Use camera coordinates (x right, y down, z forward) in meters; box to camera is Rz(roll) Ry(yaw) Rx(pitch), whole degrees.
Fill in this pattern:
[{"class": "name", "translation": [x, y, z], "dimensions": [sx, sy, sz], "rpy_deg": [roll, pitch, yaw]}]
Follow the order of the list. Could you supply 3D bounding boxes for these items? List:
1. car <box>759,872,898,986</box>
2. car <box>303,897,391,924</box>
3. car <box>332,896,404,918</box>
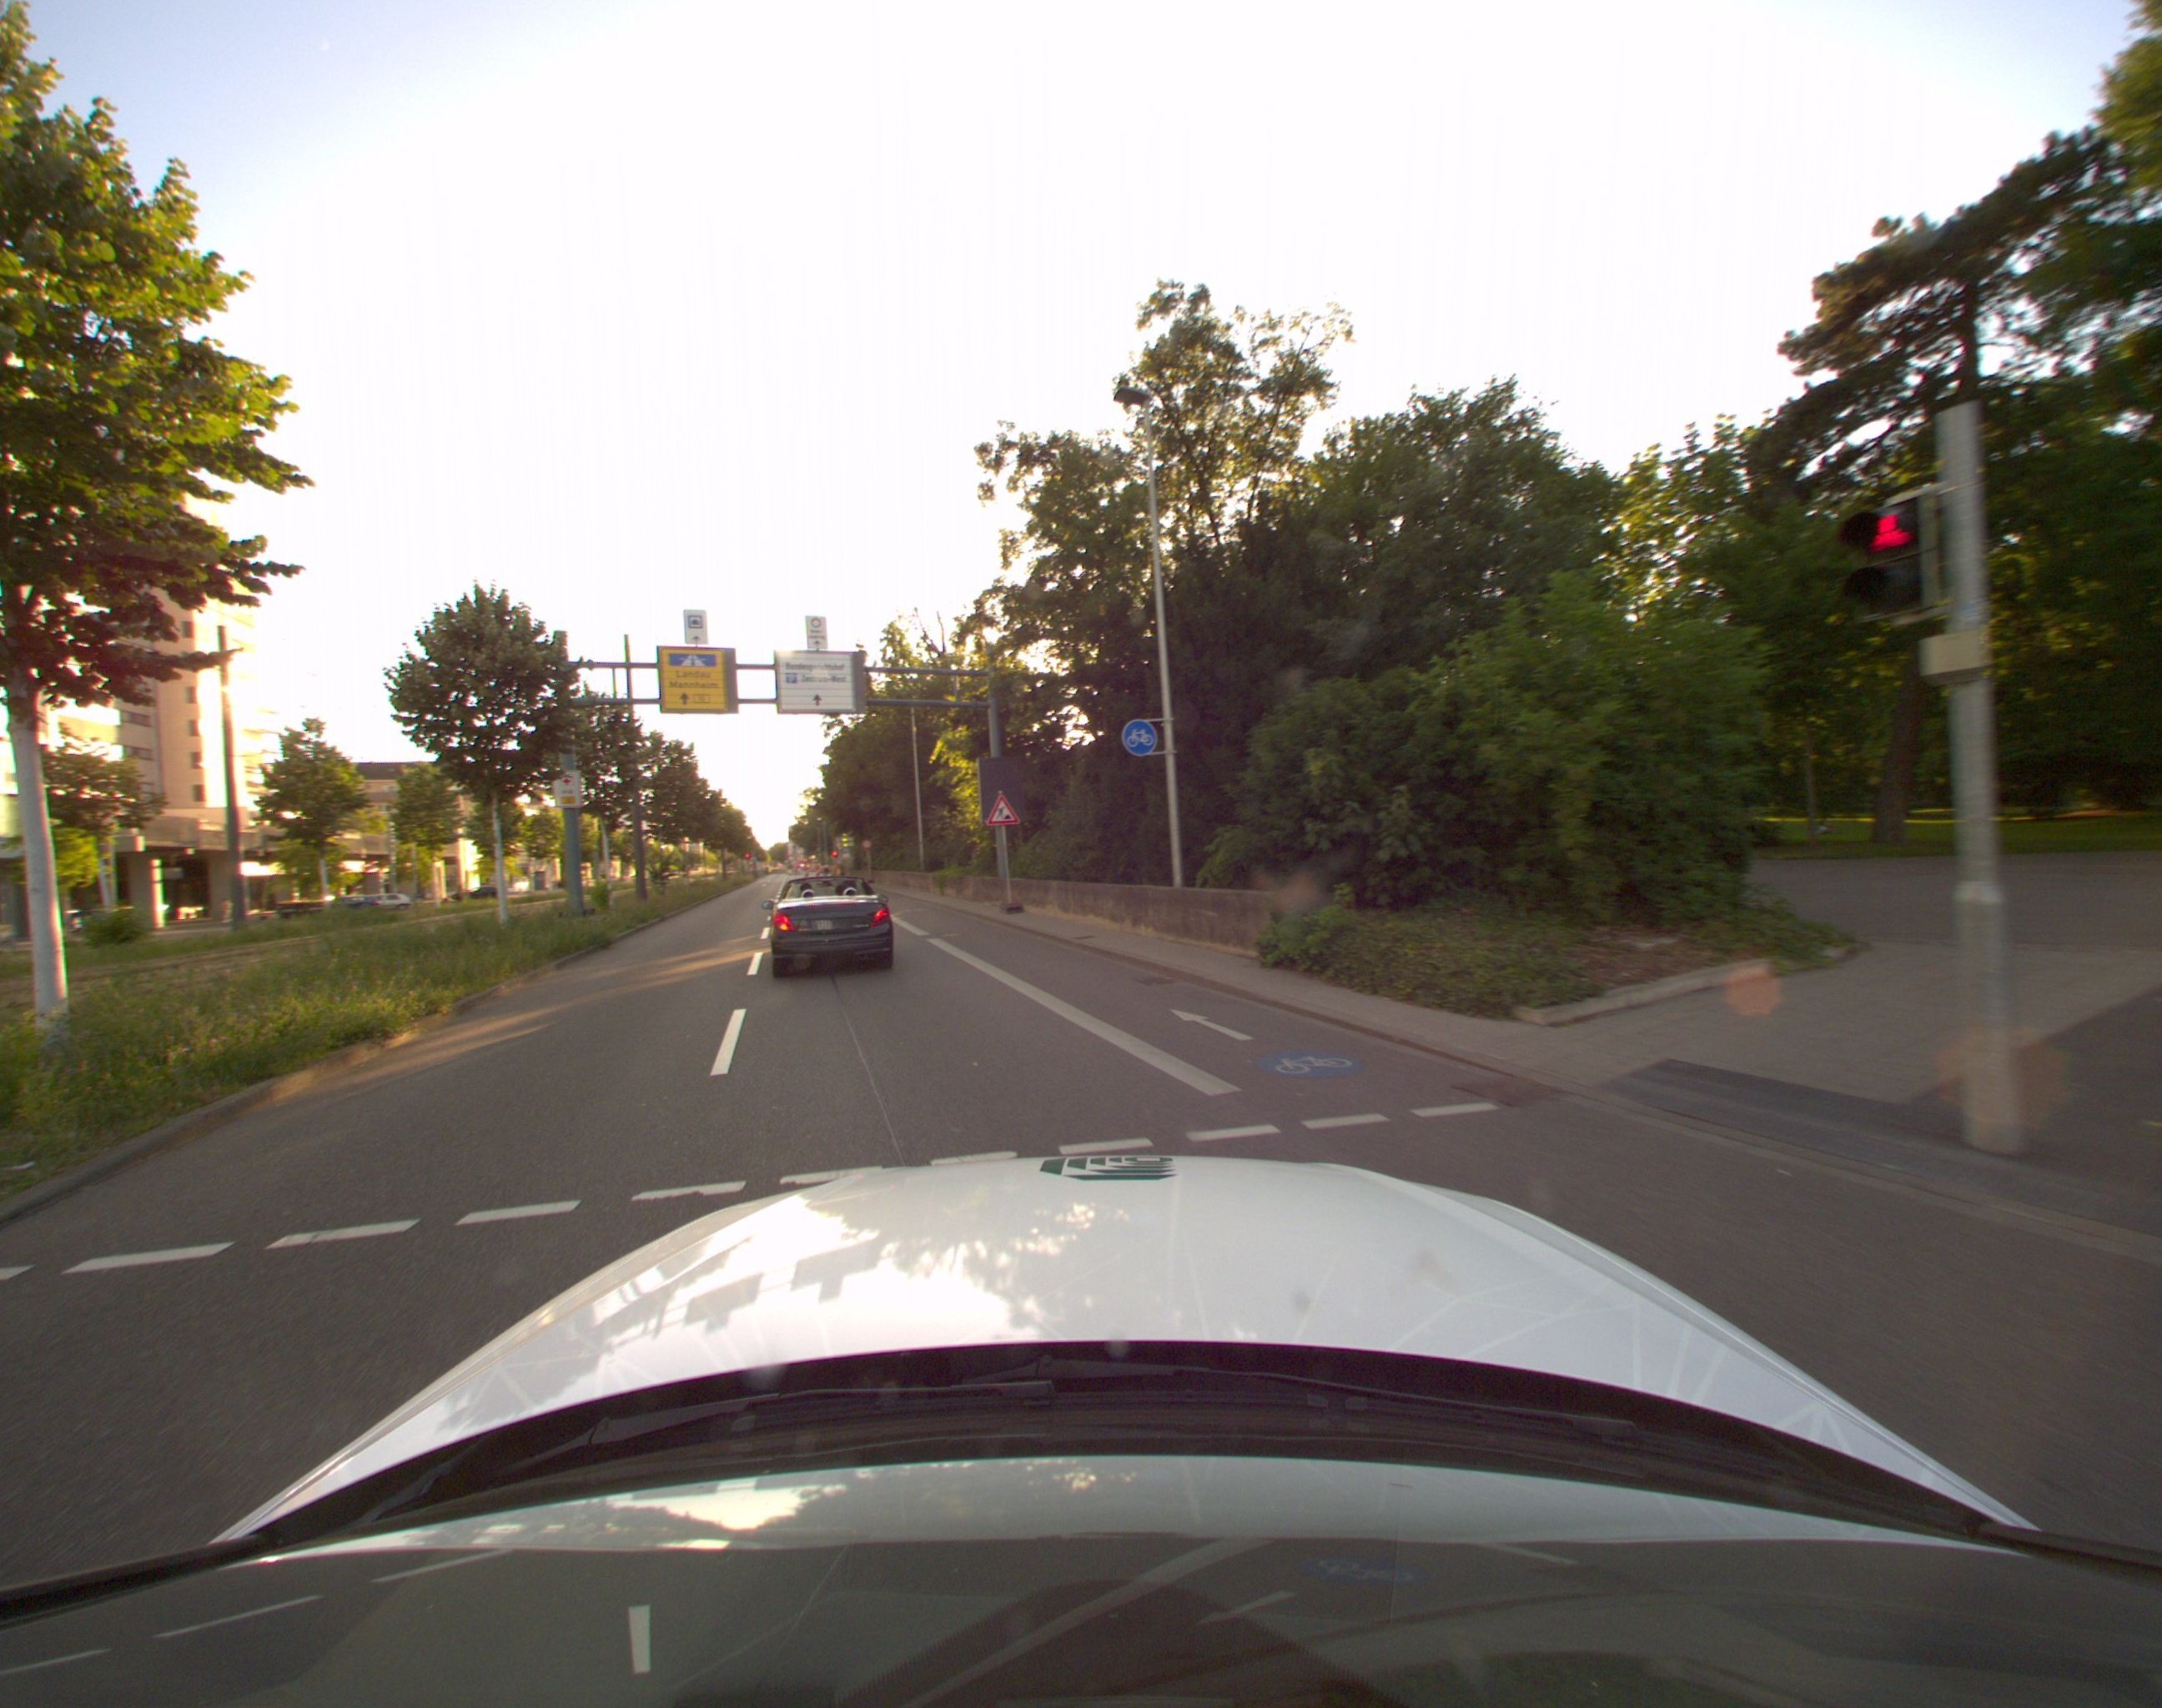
[{"class": "car", "translation": [-4.115, 1.036, 12.869], "dimensions": [1.726, 1.449, 3.872], "rpy_deg": [-2, -1, -22]}, {"class": "car", "translation": [-53.941, 4.141, 59.907], "dimensions": [1.983, 1.590, 4.312], "rpy_deg": [-4, 0, 29]}, {"class": "car", "translation": [-56.921, 4.181, 65.034], "dimensions": [1.802, 1.436, 4.156], "rpy_deg": [-2, -1, 42]}]
